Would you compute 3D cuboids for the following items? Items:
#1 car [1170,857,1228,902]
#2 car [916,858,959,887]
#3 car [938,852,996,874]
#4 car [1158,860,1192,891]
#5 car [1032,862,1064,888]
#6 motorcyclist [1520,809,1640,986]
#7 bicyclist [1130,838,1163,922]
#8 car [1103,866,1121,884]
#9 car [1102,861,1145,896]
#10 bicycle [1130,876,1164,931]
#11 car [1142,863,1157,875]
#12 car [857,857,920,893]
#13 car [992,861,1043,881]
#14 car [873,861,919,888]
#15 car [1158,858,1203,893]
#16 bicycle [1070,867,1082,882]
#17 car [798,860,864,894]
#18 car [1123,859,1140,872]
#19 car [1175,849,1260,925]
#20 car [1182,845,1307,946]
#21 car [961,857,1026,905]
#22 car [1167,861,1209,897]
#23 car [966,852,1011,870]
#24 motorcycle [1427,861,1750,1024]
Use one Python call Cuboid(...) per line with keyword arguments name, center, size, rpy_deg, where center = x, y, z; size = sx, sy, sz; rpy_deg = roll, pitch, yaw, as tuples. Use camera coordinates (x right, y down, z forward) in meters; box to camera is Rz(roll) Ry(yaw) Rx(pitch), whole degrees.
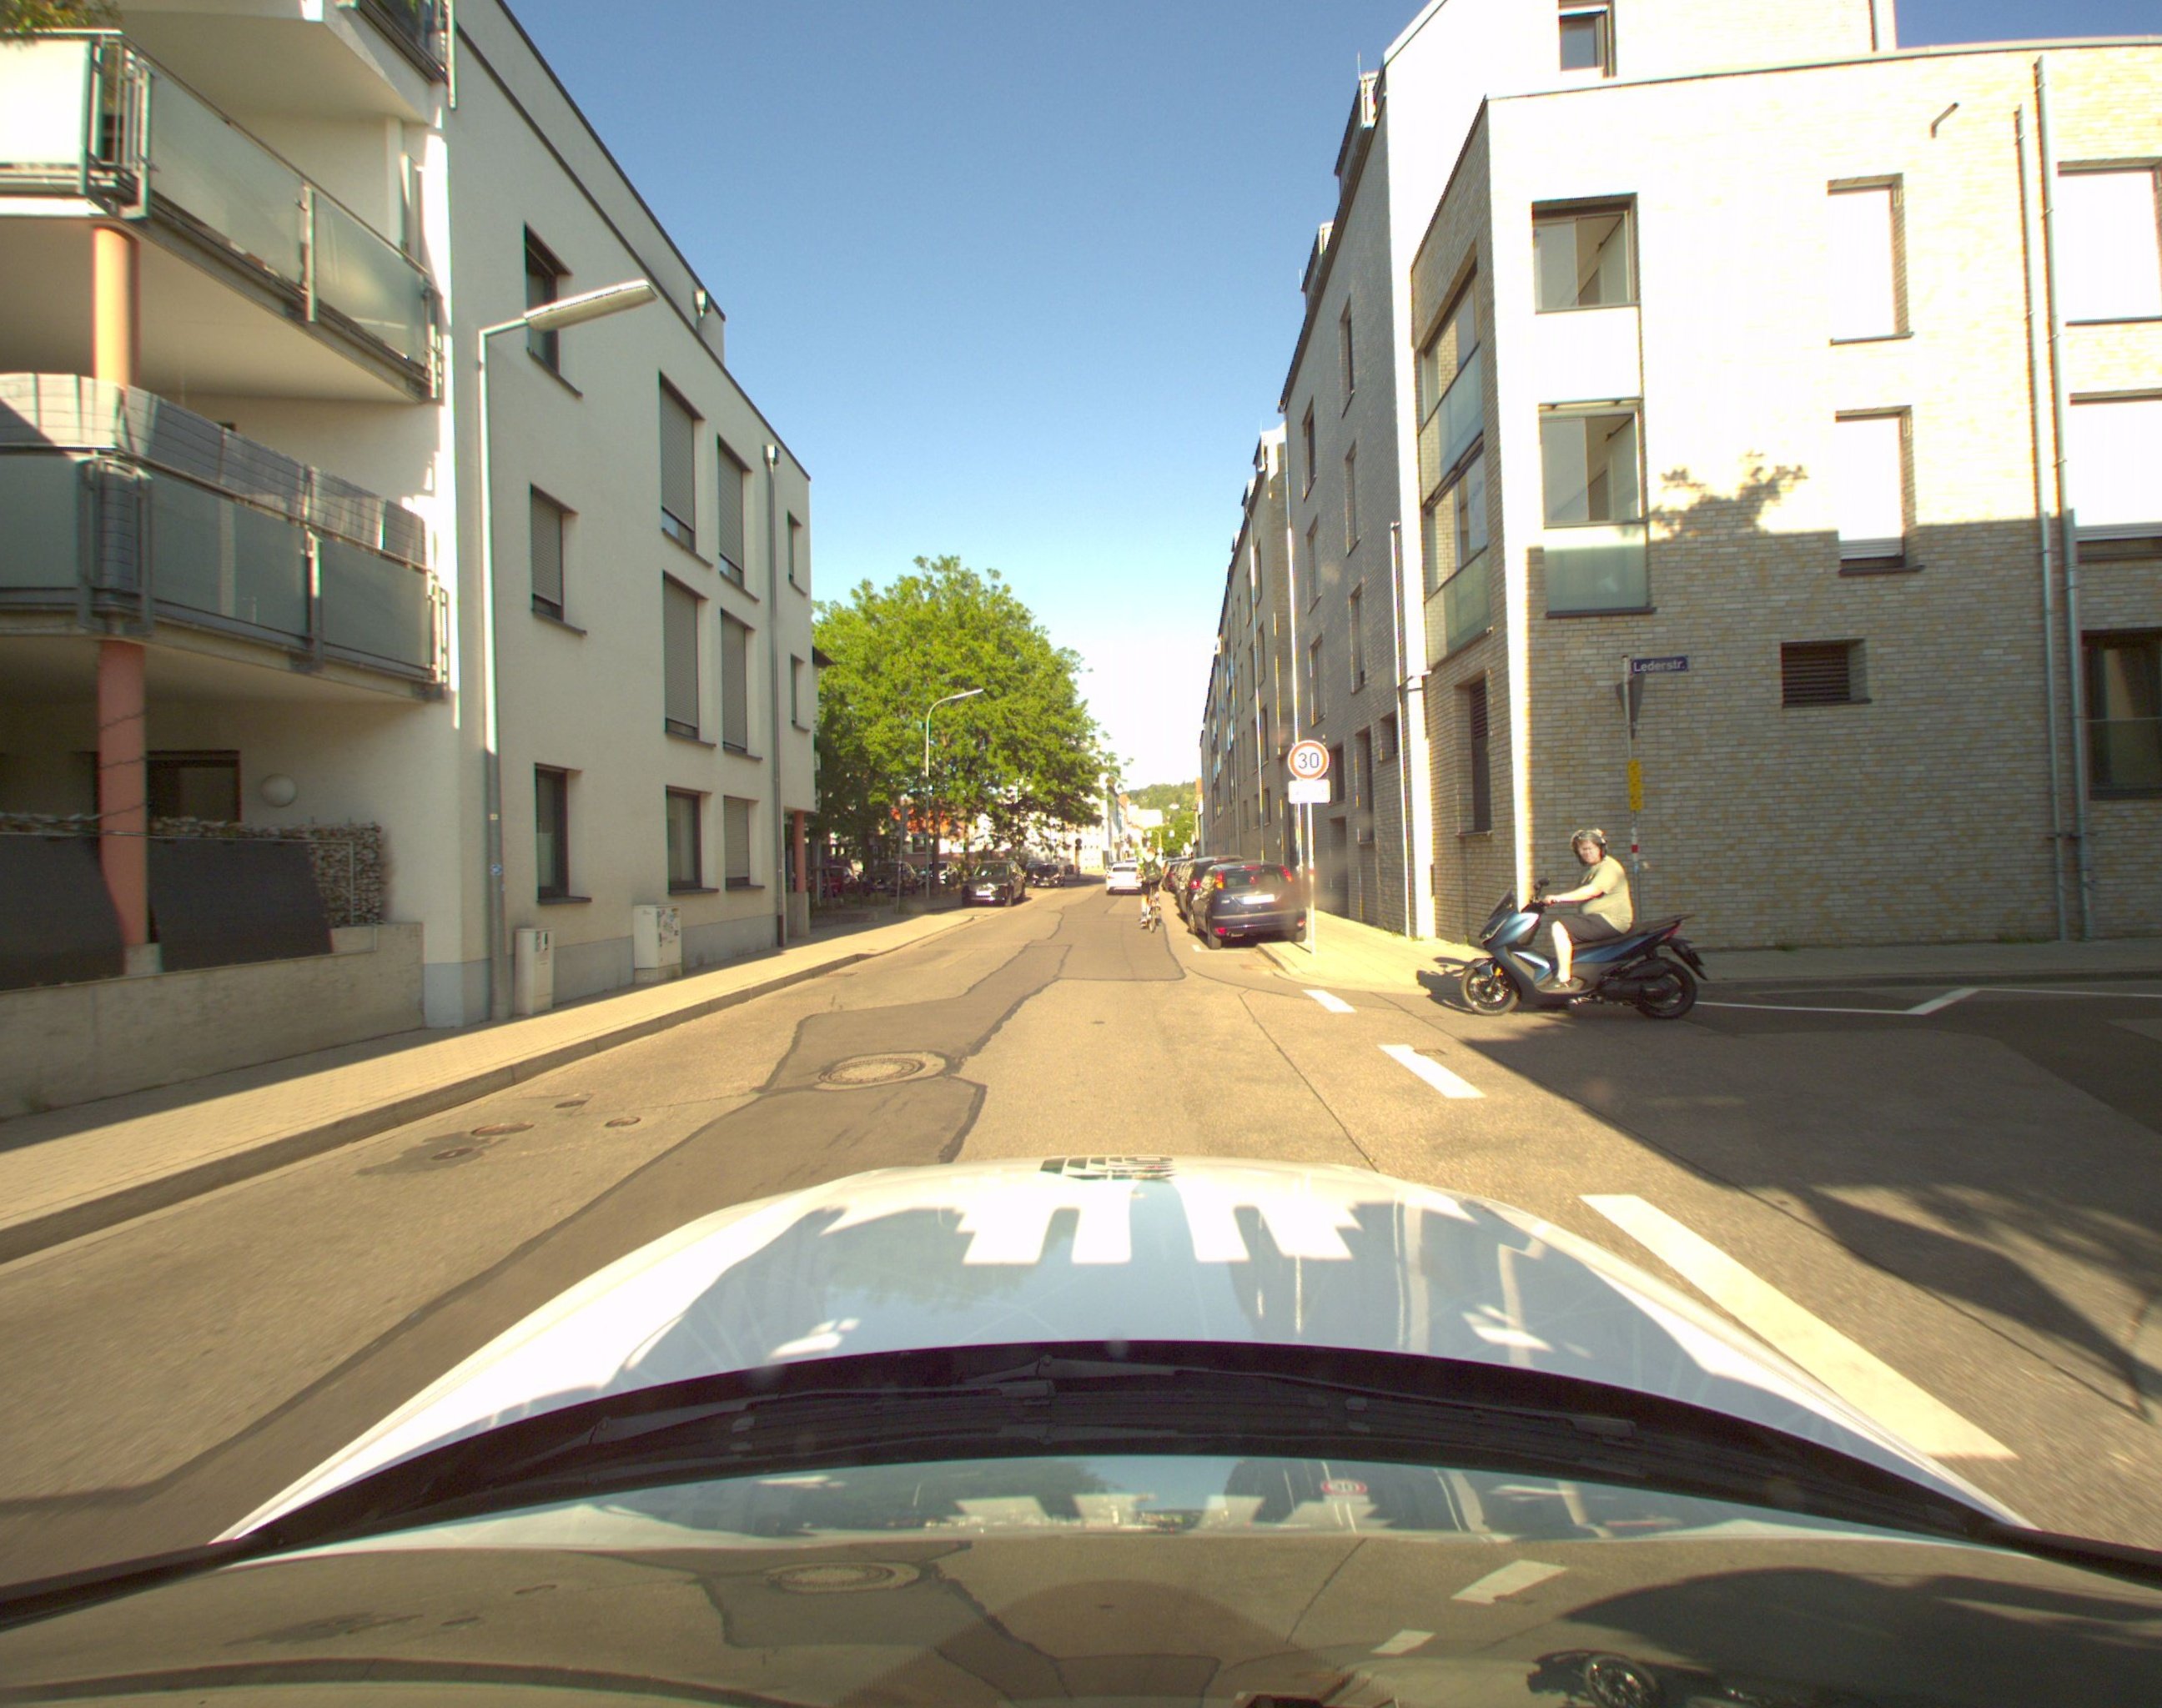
Cuboid(name="car", center=(4.397, 0.941, 30.994), size=(1.849, 1.587, 4.626), rpy_deg=(0, -1, 4))
Cuboid(name="car", center=(-8.794, 1.127, 50.254), size=(1.783, 1.690, 3.965), rpy_deg=(2, -1, 1))
Cuboid(name="car", center=(-8.464, 0.651, 60.647), size=(3.879, 1.575, 1.713), rpy_deg=(0, -1, 7))
Cuboid(name="car", center=(5.764, 1.307, 50.385), size=(1.849, 1.702, 4.627), rpy_deg=(-3, -1, 5))
Cuboid(name="car", center=(-2.039, 1.320, 51.467), size=(1.697, 1.575, 3.915), rpy_deg=(0, -1, 2))
Cuboid(name="motorcyclist", center=(4.512, 0.377, 7.395), size=(0.868, 1.473, 0.901), rpy_deg=(-1, -2, 32))
Cuboid(name="bicyclist", center=(1.435, 0.564, 17.824), size=(0.695, 1.790, 1.041), rpy_deg=(0, -2, 3))
Cuboid(name="car", center=(2.819, 1.897, 74.363), size=(1.658, 1.575, 3.915), rpy_deg=(0, -1, 2))
Cuboid(name="car", center=(1.874, 1.100, 36.874), size=(1.835, 1.491, 4.145), rpy_deg=(0, -1, 1))
Cuboid(name="bicycle", center=(1.431, 1.050, 17.978), size=(0.695, 1.130, 2.405), rpy_deg=(0, -1, 4))
Cuboid(name="car", center=(10.058, 2.215, 119.536), size=(1.934, 1.587, 4.631), rpy_deg=(-3, -1, 8))
Cuboid(name="car", center=(-9.137, 0.976, 39.049), size=(1.852, 1.587, 4.620), rpy_deg=(2, -1, 0))
Cuboid(name="car", center=(-5.102, 1.390, 65.649), size=(3.882, 1.575, 1.712), rpy_deg=(0, -1, 5))
Cuboid(name="car", center=(-11.373, 1.239, 50.231), size=(1.851, 1.587, 3.673), rpy_deg=(2, -1, 2))
Cuboid(name="car", center=(4.999, 1.078, 41.380), size=(1.850, 1.587, 4.624), rpy_deg=(-3, -1, 3))
Cuboid(name="bicycle", center=(-0.384, 1.636, 66.382), size=(0.832, 1.218, 2.843), rpy_deg=(0, -1, 2))
Cuboid(name="car", center=(-11.701, 1.041, 38.346), size=(1.712, 1.449, 4.143), rpy_deg=(2, -1, 1))
Cuboid(name="car", center=(6.664, 1.525, 107.201), size=(1.935, 1.587, 4.628), rpy_deg=(-3, -1, 6))
Cuboid(name="car", center=(3.288, 0.762, 20.236), size=(1.657, 1.702, 3.916), rpy_deg=(0, -1, 3))
Cuboid(name="car", center=(2.977, 0.734, 15.618), size=(1.623, 1.587, 4.071), rpy_deg=(-3, -1, 2))
Cuboid(name="car", center=(-3.459, 1.048, 33.025), size=(1.845, 1.791, 4.612), rpy_deg=(0, -1, 4))
Cuboid(name="car", center=(4.676, 1.081, 36.016), size=(1.502, 1.444, 3.532), rpy_deg=(-3, -1, 3))
Cuboid(name="car", center=(-8.204, 0.659, 72.258), size=(3.894, 1.575, 1.707), rpy_deg=(0, -1, -5))
Cuboid(name="motorcycle", center=(4.490, 0.754, 7.406), size=(2.312, 1.281, 0.901), rpy_deg=(-3, -3, 31))
